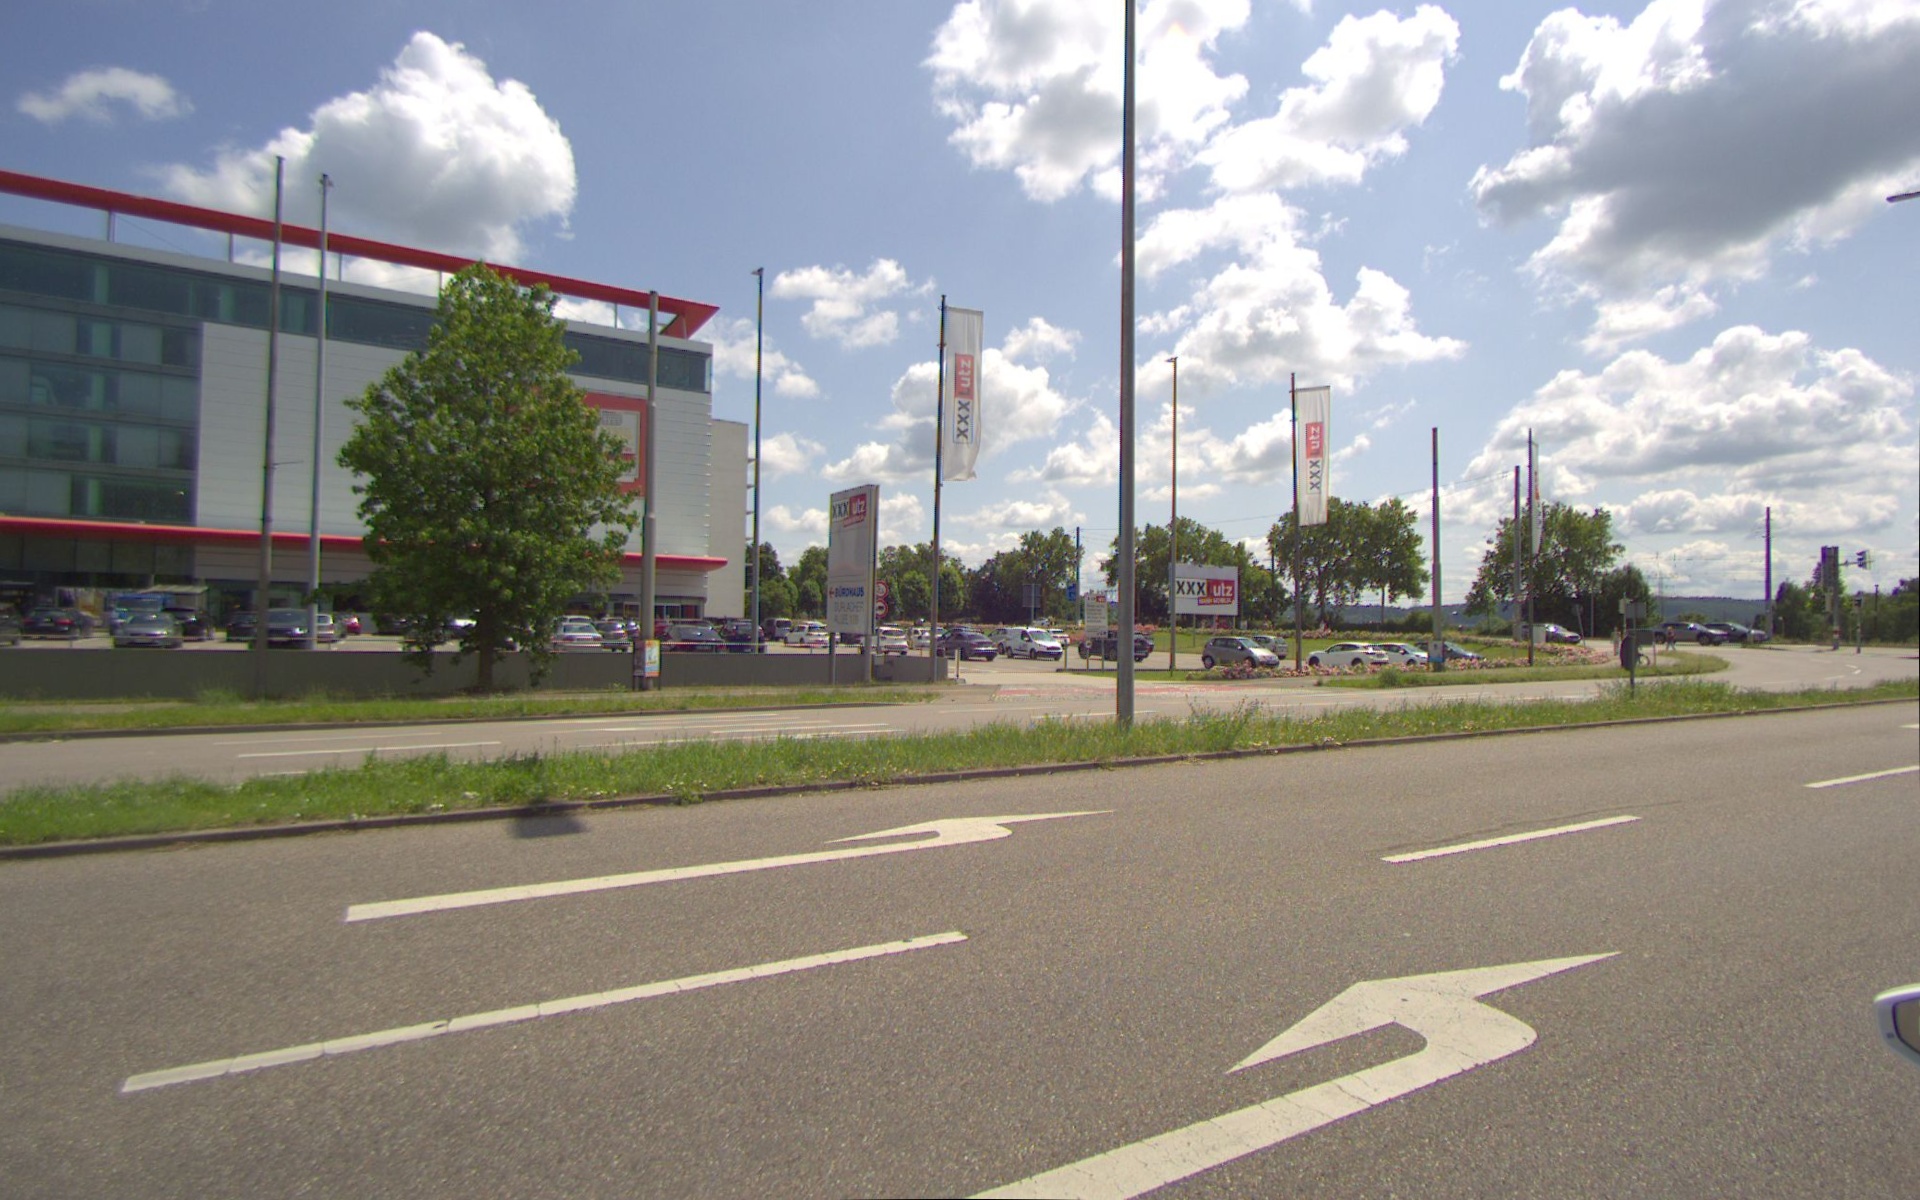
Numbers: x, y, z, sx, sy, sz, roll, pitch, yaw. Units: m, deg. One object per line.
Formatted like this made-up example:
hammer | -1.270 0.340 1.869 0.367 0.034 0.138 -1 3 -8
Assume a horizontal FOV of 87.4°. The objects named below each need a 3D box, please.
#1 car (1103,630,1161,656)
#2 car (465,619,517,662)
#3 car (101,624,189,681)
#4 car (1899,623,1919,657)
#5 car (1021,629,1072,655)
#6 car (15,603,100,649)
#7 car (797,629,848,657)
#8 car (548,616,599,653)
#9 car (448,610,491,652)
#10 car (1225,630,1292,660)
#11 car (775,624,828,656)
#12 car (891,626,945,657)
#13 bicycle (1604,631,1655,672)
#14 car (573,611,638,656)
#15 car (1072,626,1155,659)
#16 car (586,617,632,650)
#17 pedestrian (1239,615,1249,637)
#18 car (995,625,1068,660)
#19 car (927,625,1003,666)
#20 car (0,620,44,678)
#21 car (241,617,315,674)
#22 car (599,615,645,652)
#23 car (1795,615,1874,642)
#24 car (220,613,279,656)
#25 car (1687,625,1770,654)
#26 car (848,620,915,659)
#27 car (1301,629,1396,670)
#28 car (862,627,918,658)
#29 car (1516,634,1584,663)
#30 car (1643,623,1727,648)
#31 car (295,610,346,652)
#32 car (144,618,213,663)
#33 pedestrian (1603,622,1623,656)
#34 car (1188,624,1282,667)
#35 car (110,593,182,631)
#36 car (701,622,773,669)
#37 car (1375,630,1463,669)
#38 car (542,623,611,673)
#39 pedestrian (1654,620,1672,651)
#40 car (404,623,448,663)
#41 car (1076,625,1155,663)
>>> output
car | 13.459 3.371 78.927 2.224 2.015 4.327 2 -2 -31
car | -21.511 1.853 45.998 1.757 1.854 4.327 2 -2 -31
car | -31.793 2.029 39.315 1.977 2.076 4.327 2 -2 -31
car | 58.369 2.354 58.974 1.977 2.015 4.327 2 -2 -31
car | 6.892 3.333 80.381 1.977 2.015 4.327 2 -2 -31
car | -40.810 1.208 45.540 1.977 2.015 4.327 2 -2 -31
car | -9.584 2.970 69.646 1.977 1.906 4.327 2 -2 -31
car | -21.997 1.953 57.057 1.977 2.015 4.327 2 -3 -31
car | -28.853 1.838 59.021 1.848 2.336 4.534 2 -2 -31
car | 20.937 3.128 70.531 1.977 2.015 4.327 2 -2 -31
car | -10.382 2.595 65.732 1.977 2.015 4.327 2 -2 -31
car | -2.880 2.768 67.851 1.977 2.015 4.053 2 -2 -31
bicycle | 28.192 2.151 42.301 2.025 1.697 1.013 1 -2 -31
car | -17.035 1.603 48.138 1.978 2.040 4.787 2 -2 -31
car | 9.833 2.733 64.585 1.985 2.015 5.244 2 -3 -42
car | -22.075 2.107 63.124 1.977 2.040 3.968 1 -2 -31
pedestrian | 26.752 2.458 94.632 0.761 2.040 0.566 0 -2 -10
car | 3.915 2.326 55.601 1.977 1.863 4.327 2 -2 -31
car | 0.211 2.342 52.228 1.977 2.015 4.327 2 -2 -31
car | -36.083 1.786 37.453 1.968 2.069 4.266 2 -2 -31
car | -25.530 1.700 37.726 1.977 2.015 4.327 2 -2 -31
car | -19.617 1.940 58.273 1.757 2.040 3.968 1 -2 -31
car | 67.173 2.236 77.198 1.983 2.015 4.314 2 -3 -39
car | -34.685 1.712 49.149 1.977 2.015 4.327 2 -2 -31
car | 55.144 2.861 72.119 1.977 2.015 4.327 2 -2 -31
car | -4.398 2.173 55.753 1.977 2.015 4.327 3 -3 -31
car | 20.120 2.546 52.225 1.977 2.015 4.327 2 -2 -31
car | -4.679 2.796 66.448 1.977 2.015 4.327 2 -2 -31
car | 42.022 3.444 71.630 1.966 2.040 3.990 0 -2 -14
car | 51.580 2.563 71.537 1.880 1.696 4.489 2 -4 -27
car | -32.299 1.595 50.839 1.977 2.015 4.327 2 -2 -31
car | -36.873 1.924 47.486 1.977 2.015 4.327 2 -2 -31
pedestrian | 36.904 2.202 56.786 0.852 1.862 0.796 2 0 31
car | 13.381 2.199 49.119 1.977 2.015 4.327 2 -2 -31
car | -41.793 0.650 51.677 2.174 1.802 5.091 1 -3 -31
car | -10.308 2.042 46.282 1.977 2.015 4.327 2 -1 -31
car | 24.802 2.665 54.392 1.975 2.040 3.971 1 -2 -28
car | -16.238 1.998 42.413 1.977 2.015 4.327 2 -2 -31
pedestrian | 43.142 2.155 61.629 0.784 1.862 0.865 2 0 31
car | -28.380 2.257 53.312 1.976 2.015 4.330 1 -2 -29
car | 8.854 2.469 57.548 1.977 2.015 4.559 2 -2 -31
